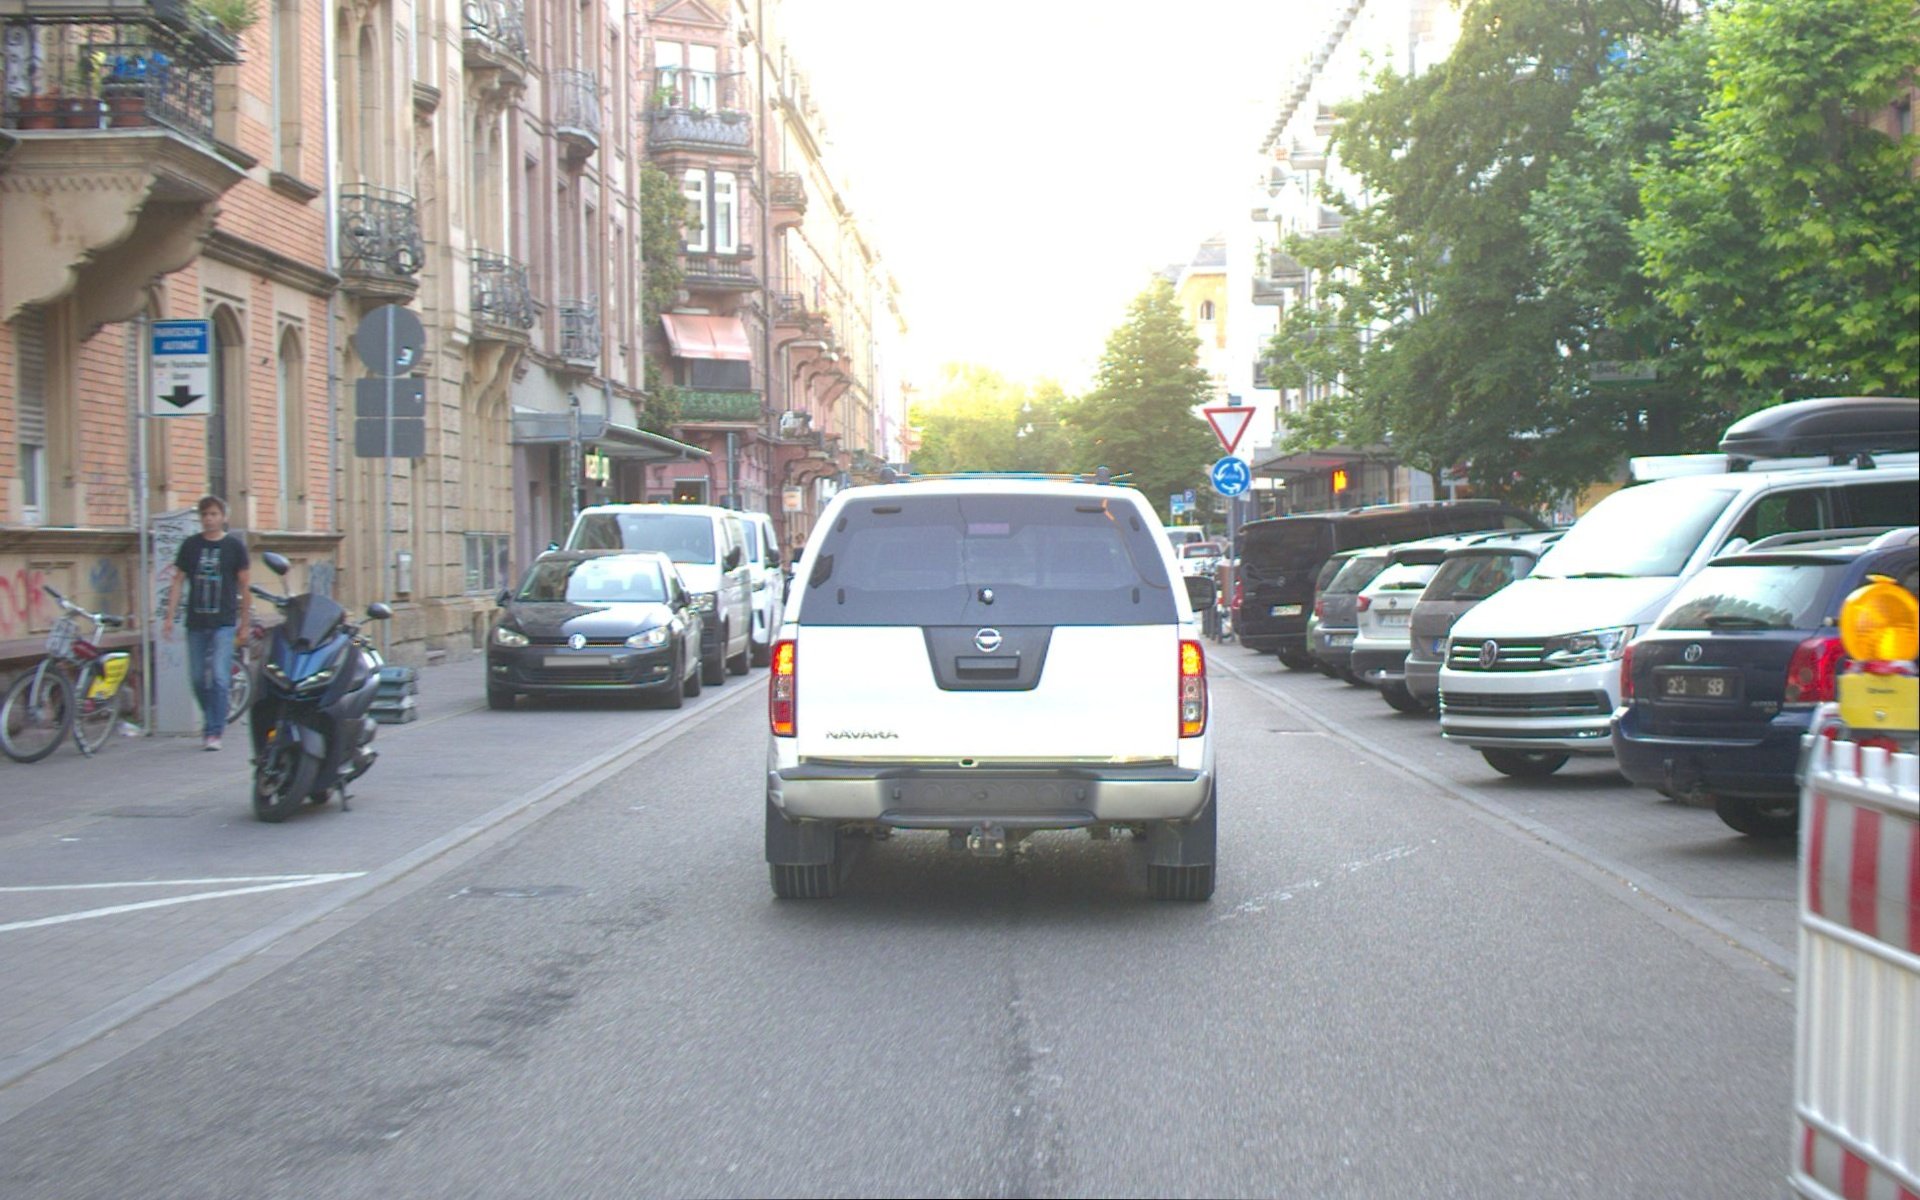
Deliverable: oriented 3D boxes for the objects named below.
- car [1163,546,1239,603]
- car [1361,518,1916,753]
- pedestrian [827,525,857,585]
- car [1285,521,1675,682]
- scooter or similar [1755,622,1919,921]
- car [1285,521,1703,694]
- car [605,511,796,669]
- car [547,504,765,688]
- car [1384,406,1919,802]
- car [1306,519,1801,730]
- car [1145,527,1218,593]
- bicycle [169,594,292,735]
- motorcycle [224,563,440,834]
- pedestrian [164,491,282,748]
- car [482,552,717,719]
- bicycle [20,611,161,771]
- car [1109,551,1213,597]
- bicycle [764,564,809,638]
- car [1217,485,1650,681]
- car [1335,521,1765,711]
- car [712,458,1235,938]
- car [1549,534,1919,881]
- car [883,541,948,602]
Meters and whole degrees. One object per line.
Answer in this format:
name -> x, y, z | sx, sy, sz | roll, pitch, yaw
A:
car -> 6.672, -0.695, 95.513 | 1.834, 1.536, 4.000 | 1, 0, 0
car -> 5.547, 0.237, 28.025 | 4.153, 1.585, 1.886 | -4, 2, -29
pedestrian -> -3.224, -1.224, 94.114 | 0.798, 1.615, 0.944 | 1, 0, -1
car -> 5.944, -0.006, 39.211 | 4.096, 1.546, 1.819 | -4, 2, -30
scooter or similar -> 3.996, 0.690, 14.090 | 0.654, 1.146, 1.485 | -3, 2, -23
car -> 5.692, 0.055, 36.538 | 4.096, 1.546, 1.819 | -4, 2, -30
car -> -3.276, -0.150, 44.405 | 2.109, 1.915, 5.026 | 0, 1, 0
car -> -3.308, -0.074, 38.265 | 1.837, 1.915, 4.845 | 0, 1, 2
car -> 5.434, -0.050, 22.483 | 4.922, 2.354, 2.000 | -2, 1, -25
car -> 5.364, 0.186, 30.950 | 4.095, 1.585, 1.819 | -4, 2, -29
car -> 6.697, -1.195, 104.292 | 1.942, 1.927, 4.000 | 1, 0, 0
bicycle -> -5.948, 0.508, 28.121 | 0.749, 1.097, 2.026 | 1, 0, -5
motorcycle -> -3.413, 0.507, 18.860 | 0.685, 1.400, 2.014 | 1, 0, 4
pedestrian -> -5.298, 0.135, 24.755 | 0.682, 1.804, 0.961 | 1, 0, -4
car -> -3.332, 0.284, 32.462 | 1.837, 1.466, 4.173 | 0, 1, -1
bicycle -> -5.891, 0.595, 23.351 | 0.448, 1.026, 1.740 | 1, 0, 2
car -> 7.923, -1.024, 135.608 | 3.987, 1.744, 1.841 | 1, 0, 0
bicycle -> -2.744, 0.017, 54.367 | 0.471, 1.138, 1.784 | 1, 0, 4
car -> 5.918, -0.240, 42.548 | 5.421, 2.065, 1.933 | -4, 2, -37
car -> 5.893, 0.133, 34.148 | 4.097, 1.585, 1.818 | -4, 2, -36
car -> 0.244, 0.358, 15.616 | 1.938, 1.804, 5.000 | 1, 0, 5
car -> 5.058, 0.432, 16.942 | 3.854, 1.511, 1.848 | -2, 1, -25
car -> -1.306, -0.847, 102.001 | 1.834, 1.744, 4.000 | 1, 0, 0
